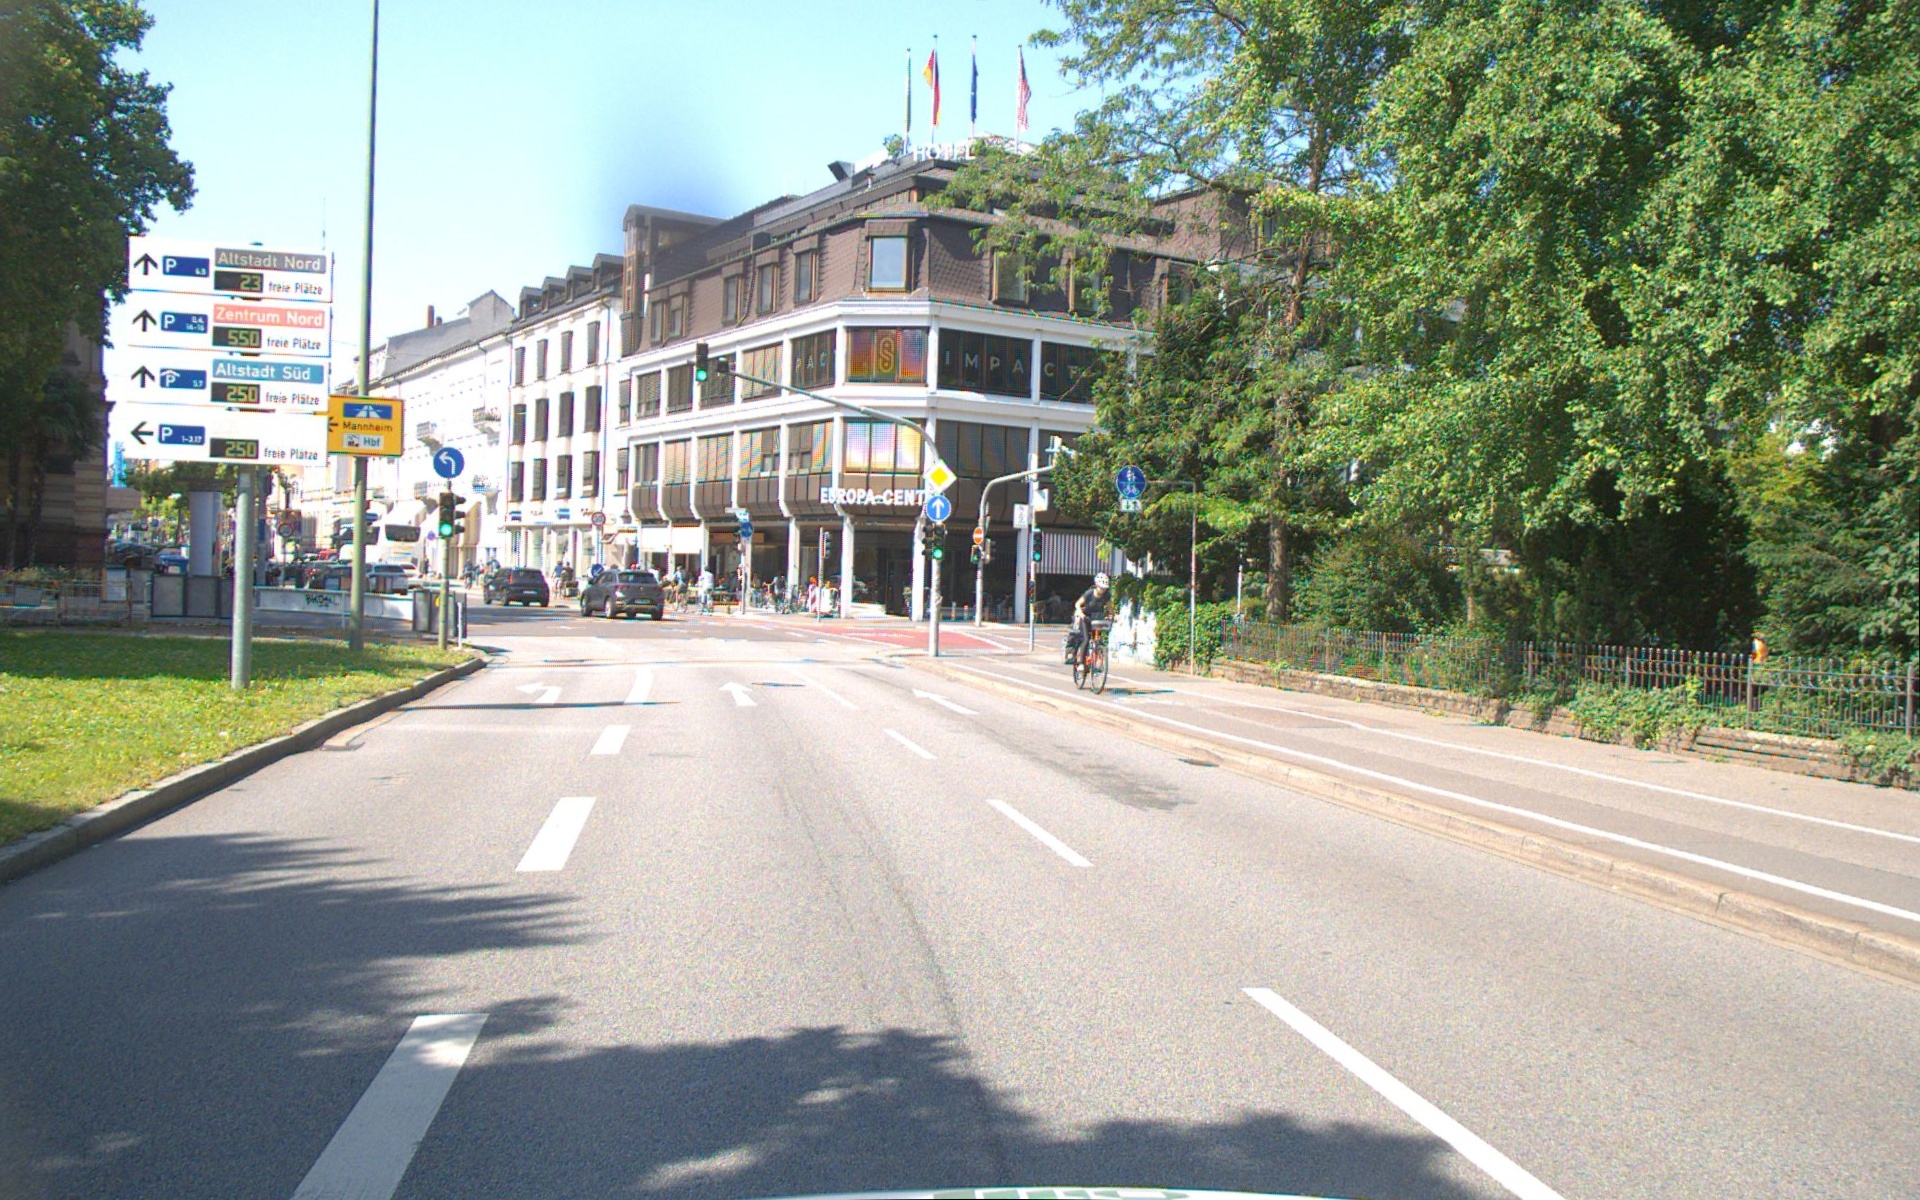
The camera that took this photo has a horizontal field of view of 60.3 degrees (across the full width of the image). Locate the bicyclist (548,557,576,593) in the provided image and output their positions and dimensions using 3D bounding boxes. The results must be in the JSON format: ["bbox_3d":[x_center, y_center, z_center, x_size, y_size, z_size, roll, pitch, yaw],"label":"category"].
[{"bbox_3d":[-18.943,-1.189,78.660,0.973,1.627,1.044,2,0,-32],"label":"bicyclist"}]

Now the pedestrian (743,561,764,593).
[{"bbox_3d":[-9.250,-1.038,74.217,0.704,1.421,0.689,1,0,-32],"label":"pedestrian"}]

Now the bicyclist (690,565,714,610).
[{"bbox_3d":[-9.696,-0.472,62.175,0.685,1.654,0.829,1,1,-23],"label":"bicyclist"}]

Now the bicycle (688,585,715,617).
[{"bbox_3d":[-9.783,0.015,62.569,0.586,1.140,1.788,1,1,-23],"label":"bicycle"}]

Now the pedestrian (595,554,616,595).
[{"bbox_3d":[-15.685,-1.132,73.203,0.613,1.749,0.827,2,0,-30],"label":"pedestrian"}]

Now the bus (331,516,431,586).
[{"bbox_3d":[-34.779,-2.952,99.012,2.854,3.807,12.292,3,0,-32],"label":"bus"}]

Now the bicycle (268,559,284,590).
[{"bbox_3d":[-26.408,-0.959,63.855,0.423,1.140,2.230,3,-1,-20],"label":"bicycle"}]

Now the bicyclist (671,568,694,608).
[{"bbox_3d":[-10.962,-0.488,65.283,0.614,1.556,0.861,2,0,-30],"label":"bicyclist"}]

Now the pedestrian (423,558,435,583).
[{"bbox_3d":[-35.510,-1.982,110.636,0.638,1.645,0.814,1,0,-29],"label":"pedestrian"}]

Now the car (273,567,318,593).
[{"bbox_3d":[-39.373,-1.160,97.917,1.845,1.466,3.957,1,-1,-32],"label":"car"}]

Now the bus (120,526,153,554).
[{"bbox_3d":[-110.420,-8.099,221.731,2.746,3.667,8.869,1,2,-34],"label":"bus"}]

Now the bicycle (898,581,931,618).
[{"bbox_3d":[-1.704,-0.039,62.161,0.518,1.339,1.968,2,2,20],"label":"bicycle"}]

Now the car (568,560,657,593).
[{"bbox_3d":[-17.260,-1.138,82.244,4.002,1.521,1.823,1,-1,-30],"label":"car"}]

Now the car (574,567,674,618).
[{"bbox_3d":[-10.832,-0.258,53.105,1.817,1.554,3.953,-1,1,-34],"label":"car"}]

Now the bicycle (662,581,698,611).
[{"bbox_3d":[-11.117,-0.179,65.552,0.613,1.118,2.329,2,1,-30],"label":"bicycle"}]

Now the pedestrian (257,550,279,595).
[{"bbox_3d":[-26.557,-1.057,63.476,0.687,1.725,0.684,1,0,-29],"label":"pedestrian"}]

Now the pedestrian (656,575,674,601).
[{"bbox_3d":[-13.487,-0.555,75.594,0.701,1.193,0.692,1,0,-23],"label":"pedestrian"}]

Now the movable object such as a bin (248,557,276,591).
[{"bbox_3d":[-32.779,-1.236,77.689,1.110,1.476,1.427,3,1,-26],"label":"movable object such as a bin"}]

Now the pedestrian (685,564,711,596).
[{"bbox_3d":[-12.683,-0.958,80.028,0.869,1.390,0.531,12,-5,-33],"label":"pedestrian"}]

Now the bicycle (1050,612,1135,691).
[{"bbox_3d":[1.978,0.751,24.957,0.744,1.140,1.996,1,-1,-12],"label":"bicycle"}]

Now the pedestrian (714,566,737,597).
[{"bbox_3d":[-10.861,-0.859,76.647,0.805,1.421,0.689,1,0,-33],"label":"pedestrian"}]

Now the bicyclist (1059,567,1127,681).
[{"bbox_3d":[1.992,0.356,24.872,0.751,1.664,0.940,1,0,-13],"label":"bicyclist"}]

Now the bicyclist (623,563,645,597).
[{"bbox_3d":[-13.295,-0.811,67.457,0.614,1.378,0.837,2,0,-33],"label":"bicyclist"}]

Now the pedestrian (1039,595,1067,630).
[{"bbox_3d":[3.775,0.489,67.023,0.810,1.358,0.971,2,1,22],"label":"pedestrian"}]

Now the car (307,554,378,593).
[{"bbox_3d":[-24.015,-1.034,64.244,1.916,1.378,4.208,1,2,-30],"label":"car"}]

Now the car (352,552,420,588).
[{"bbox_3d":[-24.572,-1.292,70.701,1.846,1.466,3.955,1,1,-33],"label":"car"}]

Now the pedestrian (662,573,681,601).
[{"bbox_3d":[-13.077,-0.572,74.850,0.701,1.238,0.692,1,0,-23],"label":"pedestrian"}]

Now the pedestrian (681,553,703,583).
[{"bbox_3d":[-13.101,-1.559,80.924,0.738,1.389,0.578,-10,7,-32],"label":"pedestrian"}]

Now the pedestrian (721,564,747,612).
[{"bbox_3d":[-8.775,-0.464,64.123,0.821,1.868,0.692,1,-1,-23],"label":"pedestrian"}]

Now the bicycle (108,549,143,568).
[{"bbox_3d":[-57.173,-2.875,113.347,2.051,1.150,0.457,4,-1,-39],"label":"bicycle"}]

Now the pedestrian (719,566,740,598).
[{"bbox_3d":[-10.575,-0.815,75.839,0.704,1.421,0.689,1,0,-32],"label":"pedestrian"}]

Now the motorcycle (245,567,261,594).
[{"bbox_3d":[-27.218,-0.744,63.711,0.447,1.015,2.147,3,0,-21],"label":"motorcycle"}]

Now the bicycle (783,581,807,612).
[{"bbox_3d":[-6.532,-0.155,65.539,0.273,1.140,2.227,1,1,-23],"label":"bicycle"}]

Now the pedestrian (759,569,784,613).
[{"bbox_3d":[-7.391,-0.340,64.848,0.821,1.692,0.692,1,0,-23],"label":"pedestrian"}]

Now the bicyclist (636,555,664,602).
[{"bbox_3d":[-11.848,-0.816,63.123,0.687,1.702,0.907,4,1,-30],"label":"bicyclist"}]

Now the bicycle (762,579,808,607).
[{"bbox_3d":[-7.299,-0.284,69.040,0.273,1.116,2.227,3,1,45],"label":"bicycle"}]

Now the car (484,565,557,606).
[{"bbox_3d":[-17.194,-0.582,64.636,1.814,1.554,3.960,-1,1,-30],"label":"car"}]

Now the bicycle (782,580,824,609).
[{"bbox_3d":[-6.335,-0.228,66.638,1.695,1.140,0.275,0,2,-25],"label":"bicycle"}]

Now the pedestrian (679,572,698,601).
[{"bbox_3d":[-13.158,-0.657,80.274,0.753,1.391,0.473,1,1,-33],"label":"pedestrian"}]

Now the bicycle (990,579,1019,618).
[{"bbox_3d":[1.744,-0.069,64.185,0.518,1.447,1.968,2,2,20],"label":"bicycle"}]

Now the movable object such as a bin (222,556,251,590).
[{"bbox_3d":[-33.777,-1.251,77.191,1.110,1.476,1.427,3,1,-26],"label":"movable object such as a bin"}]

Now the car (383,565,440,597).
[{"bbox_3d":[-26.946,-0.944,81.230,1.815,1.554,3.957,-1,1,-31],"label":"car"}]

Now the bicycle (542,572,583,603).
[{"bbox_3d":[-18.860,-0.597,78.455,0.968,1.410,2.969,2,0,-32],"label":"bicycle"}]

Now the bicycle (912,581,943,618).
[{"bbox_3d":[-1.202,-0.034,62.040,0.518,1.339,1.860,2,2,20],"label":"bicycle"}]

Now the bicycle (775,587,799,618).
[{"bbox_3d":[-6.811,0.102,65.155,0.273,1.140,2.227,1,1,-23],"label":"bicycle"}]

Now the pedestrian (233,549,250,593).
[{"bbox_3d":[-27.593,-1.109,63.493,0.541,1.694,0.930,1,0,-22],"label":"pedestrian"}]
